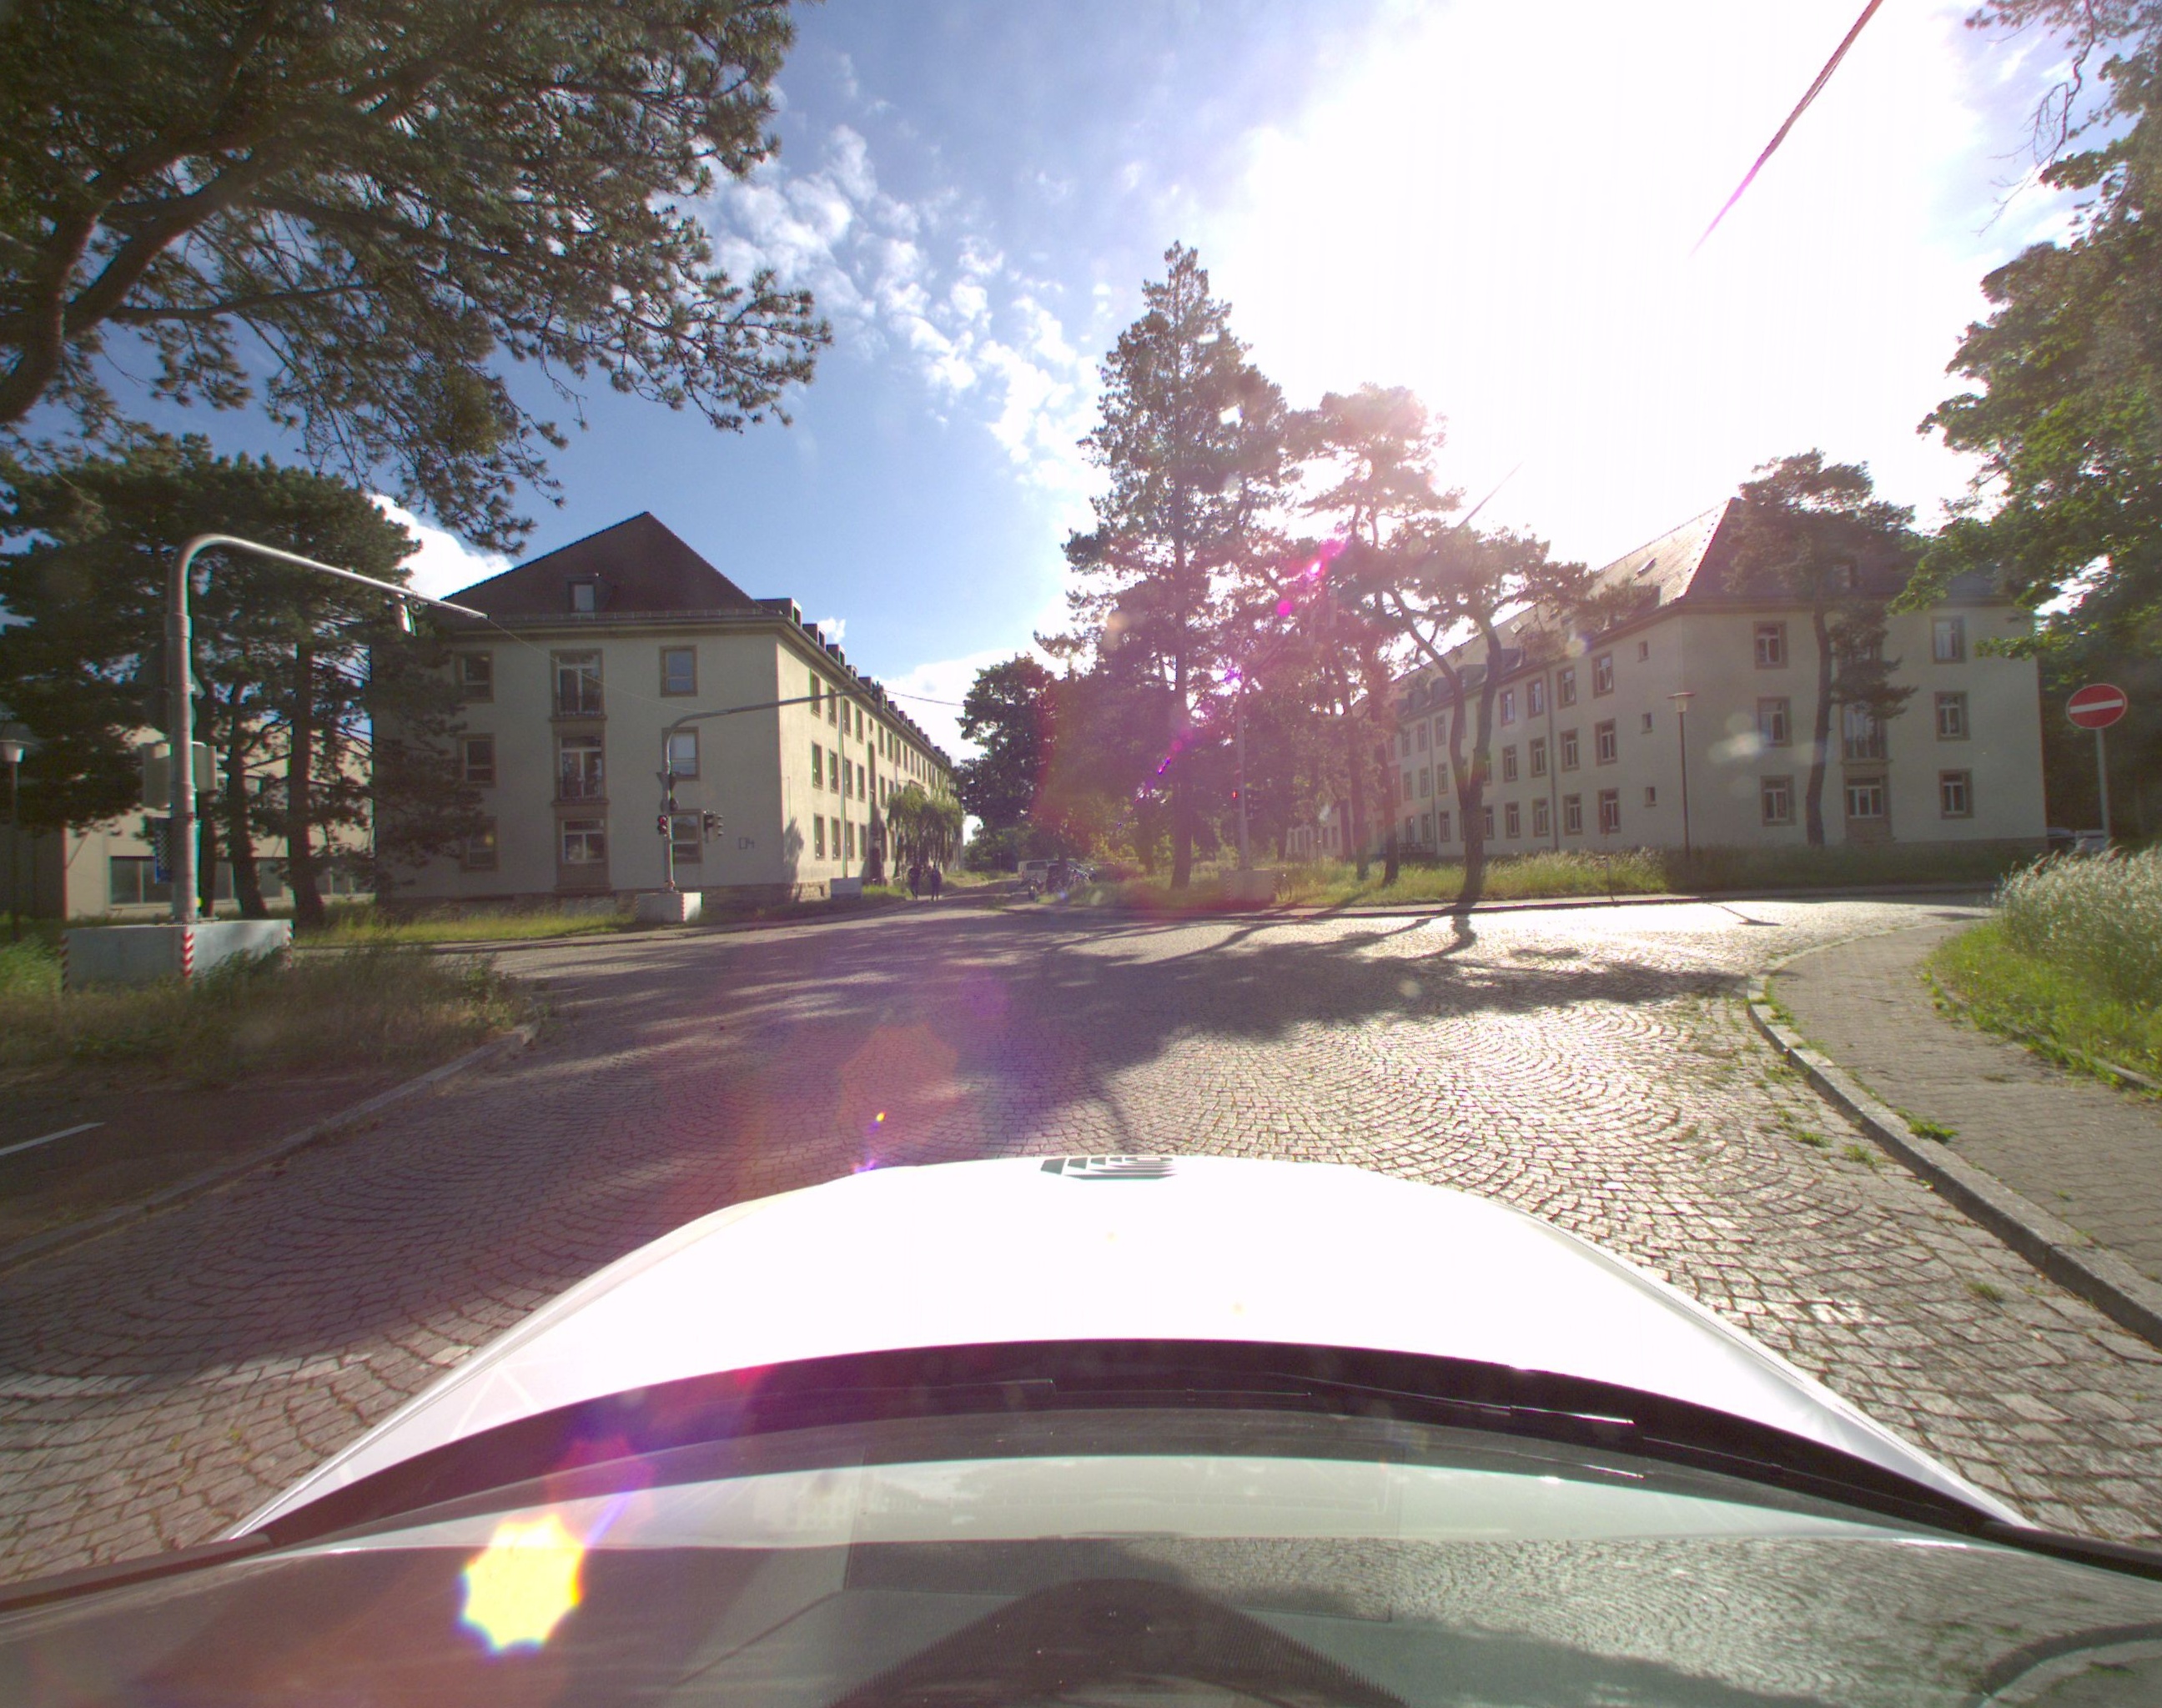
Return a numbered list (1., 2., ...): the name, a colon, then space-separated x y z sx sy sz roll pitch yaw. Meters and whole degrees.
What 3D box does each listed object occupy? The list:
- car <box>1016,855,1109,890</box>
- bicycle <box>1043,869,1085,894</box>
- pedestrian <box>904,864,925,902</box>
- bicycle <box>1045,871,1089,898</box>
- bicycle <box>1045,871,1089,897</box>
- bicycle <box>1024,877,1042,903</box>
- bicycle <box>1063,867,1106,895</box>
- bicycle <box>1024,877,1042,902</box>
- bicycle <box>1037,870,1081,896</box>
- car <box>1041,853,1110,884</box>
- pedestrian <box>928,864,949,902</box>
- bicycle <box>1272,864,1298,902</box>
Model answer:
1. car: -1.264 1.202 54.217 5.929 2.014 2.467 -2 -1 -9
2. bicycle: -0.816 1.327 39.198 1.939 1.129 0.646 -2 -1 -8
3. pedestrian: -8.136 1.402 39.795 0.807 1.817 0.556 -2 -1 9
4. bicycle: -0.631 1.381 36.893 1.938 1.129 0.748 -2 -1 -5
5. bicycle: -0.630 1.328 36.096 1.851 1.031 0.748 -2 -1 -5
6. bicycle: -1.922 1.440 32.564 0.694 0.971 1.858 -1 -1 -4
7. bicycle: 0.169 1.249 37.625 1.938 1.235 0.484 -2 -1 -5
8. bicycle: -2.038 1.476 34.492 0.694 0.971 1.858 -1 -1 -4
9. bicycle: -1.015 1.365 38.091 1.952 1.129 0.641 -2 -1 -29
10. car: -0.360 0.889 49.855 3.987 1.684 1.841 -2 -1 -10
11. pedestrian: -6.994 1.419 39.877 0.763 1.817 0.684 -2 -1 9
12. bicycle: 6.053 0.850 24.238 0.464 1.080 1.174 -2 -1 2
